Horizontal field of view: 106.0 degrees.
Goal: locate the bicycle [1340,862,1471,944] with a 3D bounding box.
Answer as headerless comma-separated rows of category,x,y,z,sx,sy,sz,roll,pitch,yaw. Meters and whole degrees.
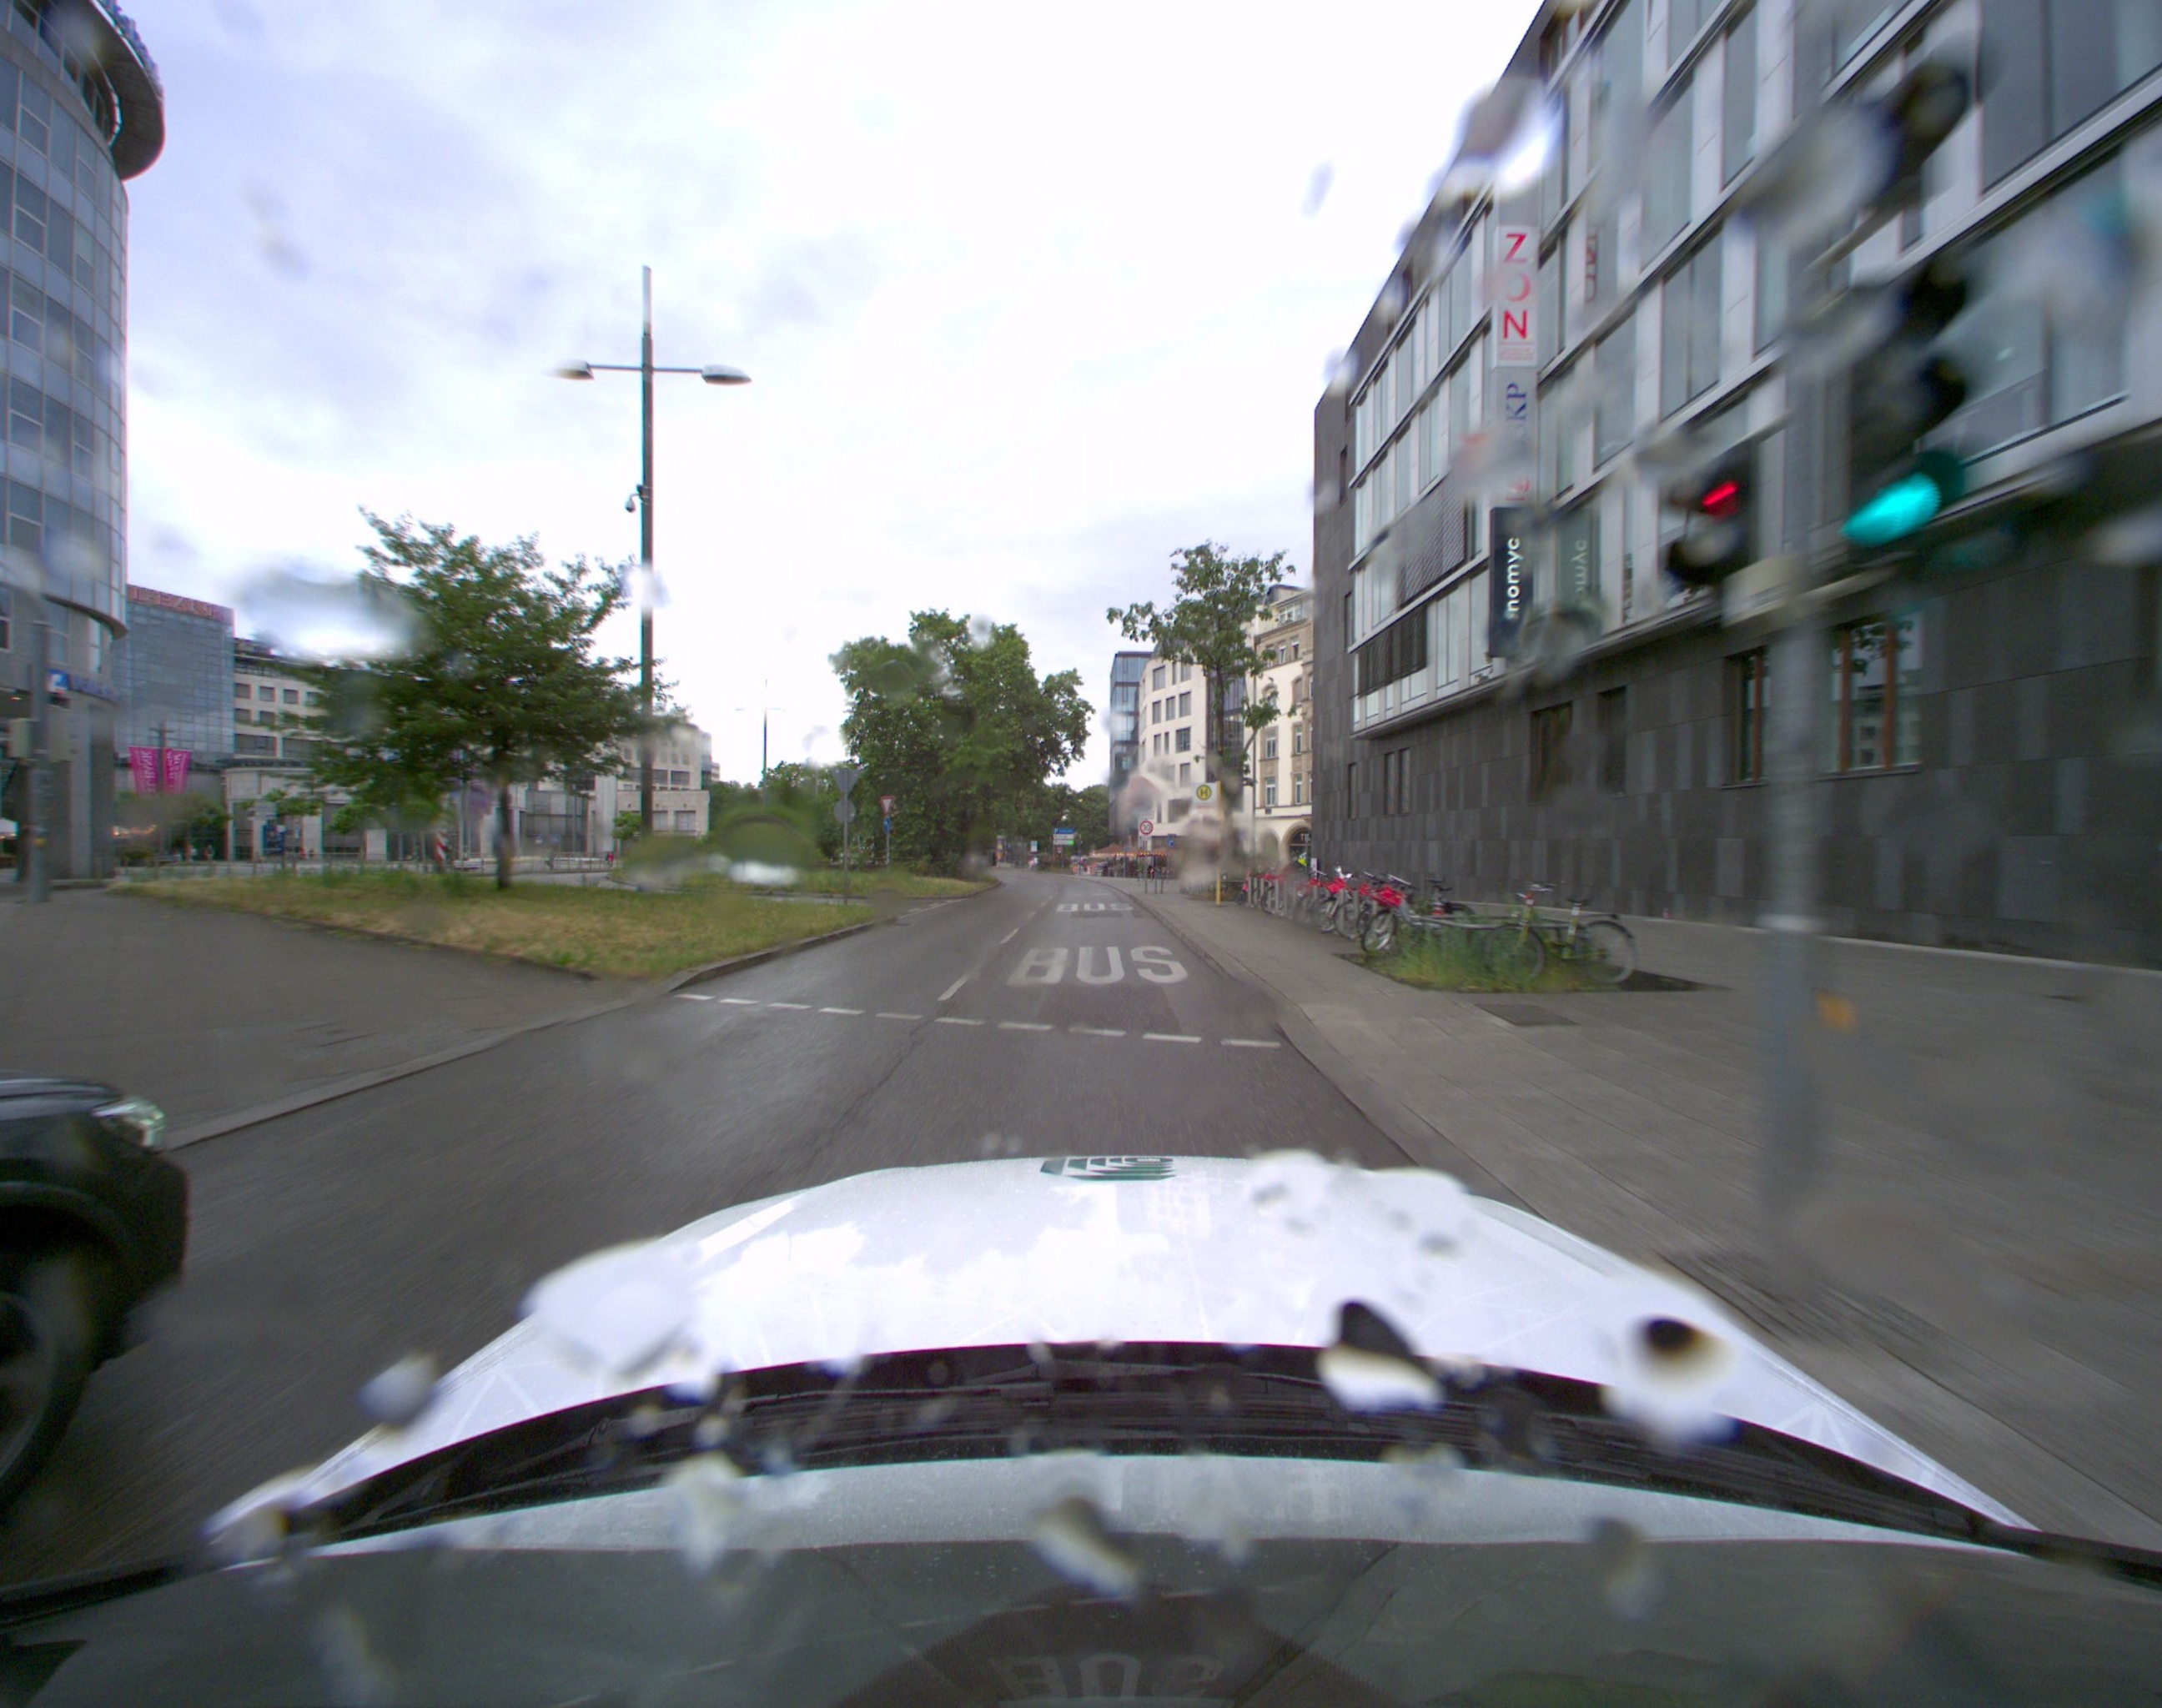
bicycle,4.910,0.725,12.373,1.727,1.183,0.688,-1,0,-7

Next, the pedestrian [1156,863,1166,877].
pedestrian,7.650,1.496,77.669,0.630,1.326,0.631,3,-1,-24

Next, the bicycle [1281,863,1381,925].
bicycle,4.845,0.757,15.810,1.727,1.140,0.688,-1,0,-7

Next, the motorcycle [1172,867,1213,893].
motorcycle,5.211,1.205,37.969,1.789,1.140,0.595,2,-2,-6

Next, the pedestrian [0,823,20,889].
pedestrian,-33.272,0.054,24.678,0.850,2.014,1.031,0,-1,-13

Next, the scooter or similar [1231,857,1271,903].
scooter or similar,4.784,0.732,22.867,1.059,1.258,0.302,0,-2,-7

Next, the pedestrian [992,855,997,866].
pedestrian,-14.207,1.036,133.389,0.718,1.702,0.620,0,-1,7

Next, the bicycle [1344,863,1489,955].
bicycle,4.586,0.728,11.186,1.727,1.183,0.688,-1,0,-7

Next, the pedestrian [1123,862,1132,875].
pedestrian,5.093,1.604,88.962,0.815,1.326,0.635,3,-1,-4

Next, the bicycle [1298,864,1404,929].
bicycle,4.961,0.760,15.004,1.727,1.140,0.688,-1,0,-7

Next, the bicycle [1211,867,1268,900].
bicycle,5.406,0.999,27.795,1.791,1.068,0.555,2,-2,-5

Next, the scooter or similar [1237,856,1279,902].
scooter or similar,4.880,0.689,22.507,1.104,1.258,0.302,0,-2,-7

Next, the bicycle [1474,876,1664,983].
bicycle,5.316,0.795,8.922,1.727,1.070,0.688,-1,0,-7

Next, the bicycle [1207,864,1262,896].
bicycle,5.356,0.918,28.476,1.791,1.068,0.555,2,-2,-5

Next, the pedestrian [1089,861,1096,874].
pedestrian,1.217,1.460,86.675,0.605,1.326,0.567,3,-1,-4

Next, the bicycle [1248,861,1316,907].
bicycle,5.040,0.748,20.485,1.532,1.140,0.687,0,-2,-7

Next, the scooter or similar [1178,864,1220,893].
scooter or similar,5.367,1.124,37.034,1.789,1.243,0.595,2,-2,-6

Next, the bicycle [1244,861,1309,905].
bicycle,5.125,0.751,21.347,1.532,1.140,0.661,0,-2,-7

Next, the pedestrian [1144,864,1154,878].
pedestrian,6.656,1.656,79.791,0.630,1.326,0.631,3,-1,-24

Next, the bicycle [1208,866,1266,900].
bicycle,5.169,0.959,26.939,1.791,1.068,0.555,2,-2,-5

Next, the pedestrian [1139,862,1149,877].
pedestrian,5.692,1.390,73.280,0.772,1.326,0.635,3,-1,-5

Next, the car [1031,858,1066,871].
car,-4.565,1.533,115.291,4.720,1.691,2.004,1,0,-1

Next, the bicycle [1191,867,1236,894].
bicycle,5.710,1.154,35.048,1.792,1.108,0.668,2,-2,-6

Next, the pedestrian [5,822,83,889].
pedestrian,-32.148,0.055,25.274,1.053,2.014,1.031,0,-1,-13

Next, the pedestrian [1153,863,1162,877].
pedestrian,7.347,1.509,78.476,0.630,1.326,0.631,3,-1,-24

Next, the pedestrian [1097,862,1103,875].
pedestrian,2.023,1.507,86.765,0.605,1.326,0.567,3,-1,-4

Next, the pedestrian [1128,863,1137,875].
pedestrian,5.591,1.608,88.282,0.815,1.326,0.635,3,-1,-4

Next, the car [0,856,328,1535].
car,-3.368,0.753,0.415,1.854,1.518,4.345,0,0,1

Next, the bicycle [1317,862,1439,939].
bicycle,4.802,0.729,13.200,1.727,1.183,0.688,-1,0,-7

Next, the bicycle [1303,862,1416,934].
bicycle,4.814,0.737,14.136,1.727,1.183,0.688,-1,0,-7

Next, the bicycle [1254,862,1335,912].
bicycle,4.947,0.761,18.938,1.704,1.140,0.687,0,-2,-7

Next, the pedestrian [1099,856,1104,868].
pedestrian,3.344,1.329,132.096,0.621,1.933,0.789,1,-1,6

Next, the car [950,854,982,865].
car,-17.295,0.800,122.626,4.292,1.666,1.964,0,-1,25

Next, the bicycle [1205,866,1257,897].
bicycle,5.595,1.035,30.360,1.792,1.108,0.668,2,-2,-6

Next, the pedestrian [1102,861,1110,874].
pedestrian,2.718,1.493,88.495,0.815,1.326,0.635,3,-1,-4

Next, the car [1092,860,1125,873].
car,3.943,1.837,117.795,4.720,1.691,2.004,1,0,-1

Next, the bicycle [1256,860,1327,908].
bicycle,5.087,0.719,19.705,1.532,1.140,0.687,0,-2,-7
